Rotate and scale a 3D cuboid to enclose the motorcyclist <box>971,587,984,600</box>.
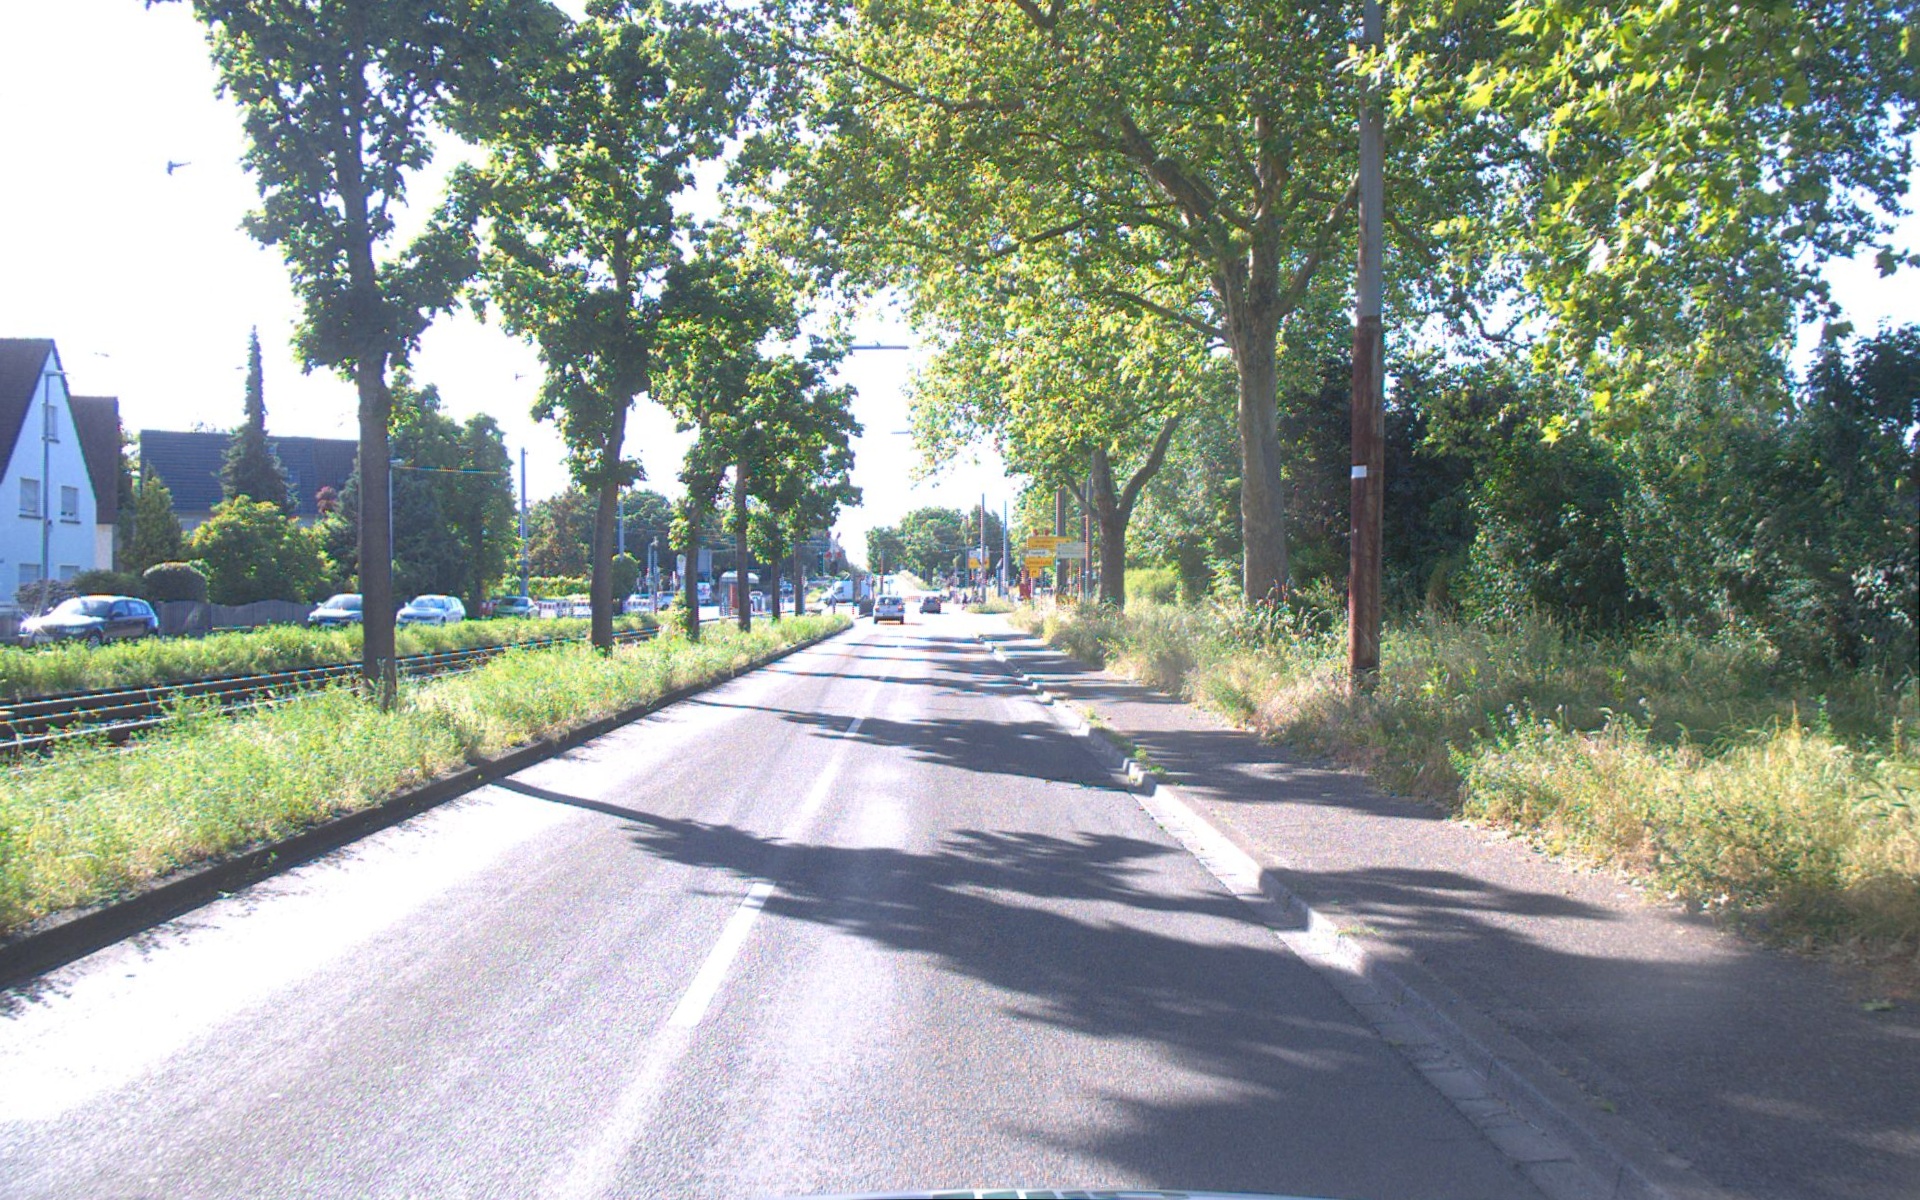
[{"bbox_3d":[1.995,-0.738,188.376,1.300,1.474,0.723,2,0,-27],"label":"motorcyclist"}]

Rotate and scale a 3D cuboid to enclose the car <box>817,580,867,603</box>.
[{"bbox_3d":[-12.917,-0.901,180.952,5.178,2.396,1.851,2,0,-26],"label":"car"}]

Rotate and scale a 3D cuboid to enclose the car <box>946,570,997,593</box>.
[{"bbox_3d":[1.226,-1.945,178.096,5.083,2.315,1.985,2,0,-26],"label":"car"}]

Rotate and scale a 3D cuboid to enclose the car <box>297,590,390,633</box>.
[{"bbox_3d":[-21.902,0.388,58.904,1.822,1.438,4.157,2,0,-1],"label":"car"}]

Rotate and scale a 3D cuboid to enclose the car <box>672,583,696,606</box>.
[{"bbox_3d":[-30.005,-0.550,179.699,2.047,2.396,5.256,2,0,-5],"label":"car"}]

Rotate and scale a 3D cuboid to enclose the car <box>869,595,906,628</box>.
[{"bbox_3d":[-3.763,0.601,86.526,1.822,1.629,4.226,2,0,-1],"label":"car"}]

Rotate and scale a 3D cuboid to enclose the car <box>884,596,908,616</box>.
[{"bbox_3d":[-5.603,0.537,144.689,1.953,1.631,4.472,2,0,-2],"label":"car"}]

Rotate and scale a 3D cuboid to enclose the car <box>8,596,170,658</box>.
[{"bbox_3d":[-21.395,0.640,40.833,1.822,1.393,4.226,2,0,-1],"label":"car"}]

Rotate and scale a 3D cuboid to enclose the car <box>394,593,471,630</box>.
[{"bbox_3d":[-21.945,0.480,68.996,1.822,1.456,4.460,2,0,-1],"label":"car"}]

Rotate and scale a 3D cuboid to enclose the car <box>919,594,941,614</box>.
[{"bbox_3d":[-2.565,0.361,139.547,1.755,1.586,4.226,2,0,-1],"label":"car"}]

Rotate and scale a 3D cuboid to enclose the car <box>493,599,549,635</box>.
[{"bbox_3d":[-22.299,0.842,84.117,1.742,1.737,4.226,2,0,-1],"label":"car"}]

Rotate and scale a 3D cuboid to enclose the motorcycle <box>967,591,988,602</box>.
[{"bbox_3d":[1.971,-0.410,188.371,2.345,1.204,0.723,2,0,-27],"label":"motorcycle"}]
